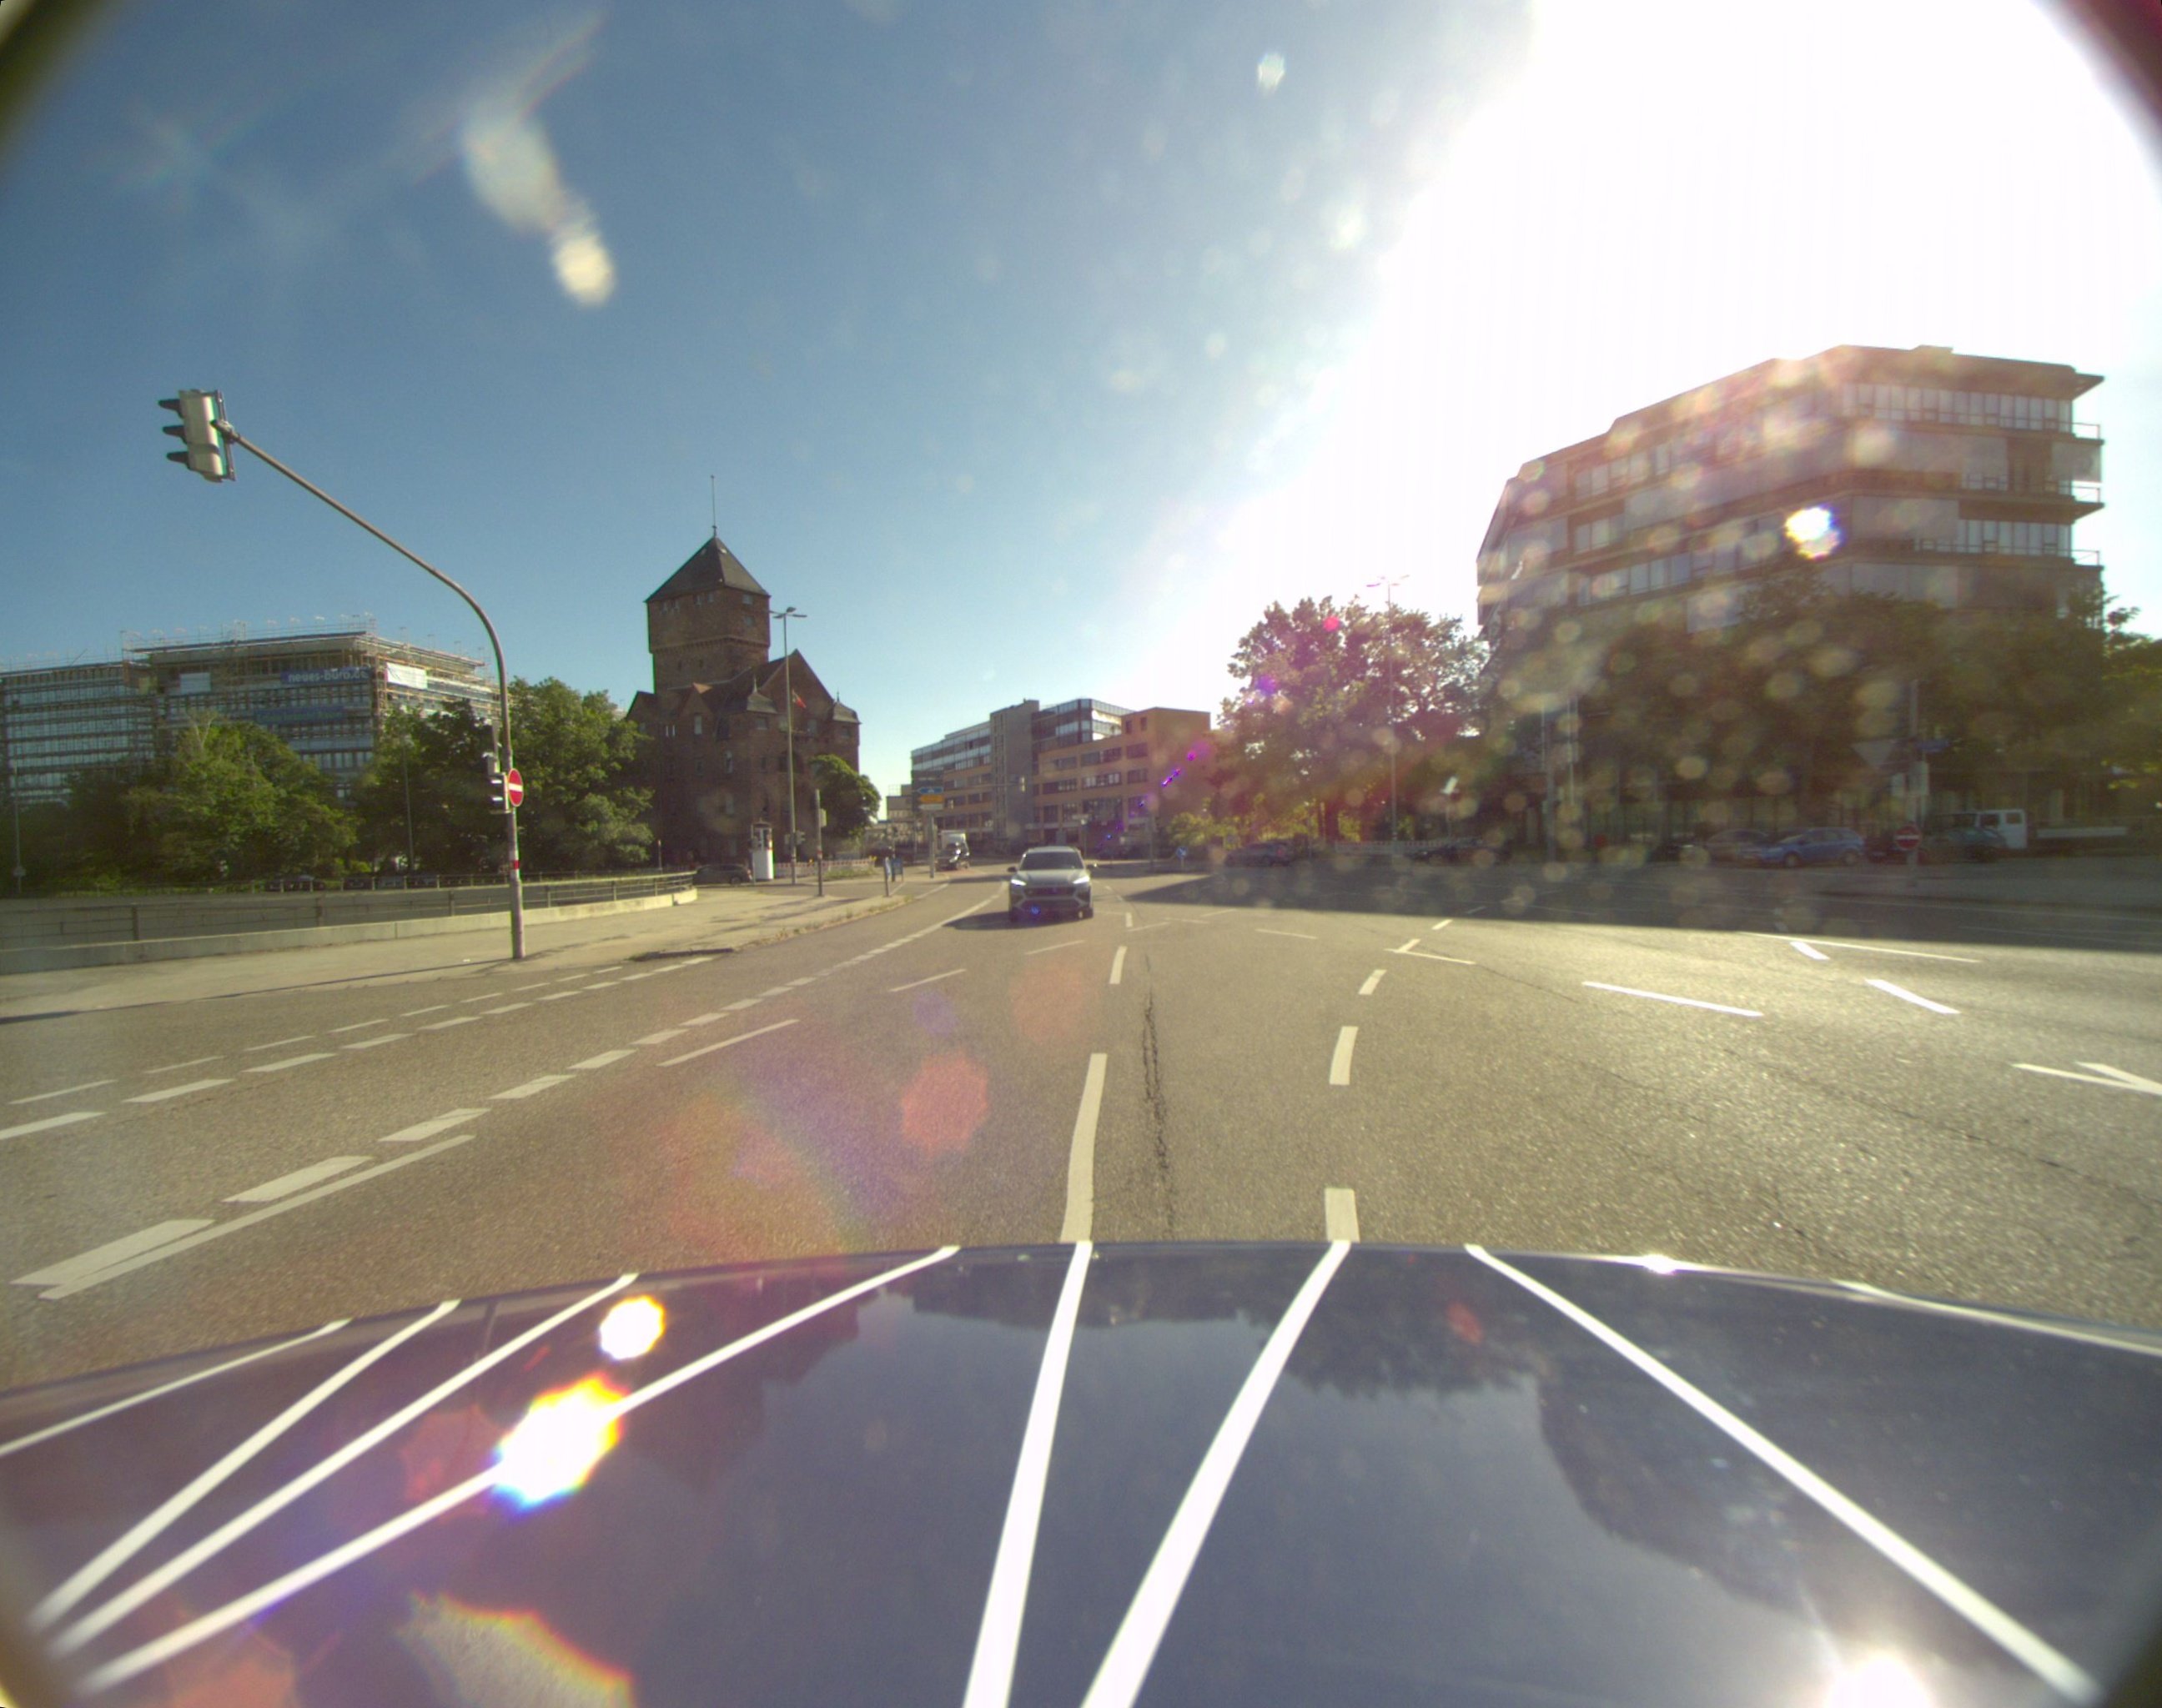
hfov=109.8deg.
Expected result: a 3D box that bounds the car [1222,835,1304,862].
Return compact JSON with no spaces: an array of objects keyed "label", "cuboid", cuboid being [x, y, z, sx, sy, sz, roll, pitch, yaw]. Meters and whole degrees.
[{"label":"car","cuboid":[10.849,-0.284,45.495,1.884,1.349,4.498,1,-3,-40]}]

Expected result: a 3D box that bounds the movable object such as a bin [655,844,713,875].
[{"label":"movable object such as a bin","cuboid":[-32.543,0.473,62.290,3.991,2.396,2.003,-1,2,23]}]

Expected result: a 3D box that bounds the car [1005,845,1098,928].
[{"label":"car","cuboid":[-0.686,0.656,17.818,1.879,1.612,4.194,-2,2,-2]}]

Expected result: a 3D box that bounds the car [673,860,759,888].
[{"label":"car","cuboid":[-22.752,1.224,47.419,4.642,1.462,1.875,-2,2,-30]}]

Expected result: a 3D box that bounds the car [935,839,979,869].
[{"label":"car","cuboid":[-10.006,-0.024,61.549,1.948,2.249,4.788,-2,1,10]}]

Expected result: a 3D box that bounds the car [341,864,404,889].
[{"label":"car","cuboid":[-50.545,1.590,54.300,2.002,1.553,3.774,-2,1,-23]}]

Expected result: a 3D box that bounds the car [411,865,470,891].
[{"label":"car","cuboid":[-44.036,1.619,52.316,2.002,1.553,3.774,-2,1,-23]}]

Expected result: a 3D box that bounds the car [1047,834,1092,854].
[{"label":"car","cuboid":[-1.090,-0.864,67.340,1.954,1.612,4.774,-3,1,-29]}]

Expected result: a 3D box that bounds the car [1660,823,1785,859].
[{"label":"car","cuboid":[32.017,-0.635,38.027,4.503,1.635,1.881,-2,1,7]}]

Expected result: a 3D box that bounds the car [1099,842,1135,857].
[{"label":"car","cuboid":[3.755,-0.492,80.065,1.662,1.500,4.369,0,-1,-29]}]

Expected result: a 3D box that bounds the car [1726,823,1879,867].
[{"label":"car","cuboid":[28.573,-0.362,30.167,4.457,1.532,1.950,-2,1,-5]}]

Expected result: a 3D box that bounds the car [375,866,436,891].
[{"label":"car","cuboid":[-46.994,1.671,52.951,2.002,1.553,3.774,-2,1,-23]}]

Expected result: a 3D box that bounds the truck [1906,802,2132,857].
[{"label":"truck","cuboid":[45.403,-1.148,36.962,7.505,2.346,2.164,-2,1,7]}]

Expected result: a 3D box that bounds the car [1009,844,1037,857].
[{"label":"car","cuboid":[-7.421,-0.471,96.681,1.641,1.515,4.150,-3,2,-36]}]

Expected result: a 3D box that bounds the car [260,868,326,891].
[{"label":"car","cuboid":[-58.143,1.872,56.144,2.002,1.445,3.774,-2,1,-23]}]

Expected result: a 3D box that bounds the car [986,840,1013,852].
[{"label":"car","cuboid":[-11.114,-1.039,103.685,1.883,1.515,4.150,-3,2,-34]}]

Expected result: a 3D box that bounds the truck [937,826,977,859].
[{"label":"truck","cuboid":[-12.629,-1.106,76.817,2.507,3.111,6.946,-3,2,-22]}]

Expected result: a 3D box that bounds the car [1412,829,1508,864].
[{"label":"car","cuboid":[19.694,-0.403,39.652,4.189,1.690,1.816,-2,2,14]}]

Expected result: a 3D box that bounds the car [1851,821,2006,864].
[{"label":"car","cuboid":[34.406,-0.477,30.930,4.457,1.532,1.950,-2,1,-5]}]
